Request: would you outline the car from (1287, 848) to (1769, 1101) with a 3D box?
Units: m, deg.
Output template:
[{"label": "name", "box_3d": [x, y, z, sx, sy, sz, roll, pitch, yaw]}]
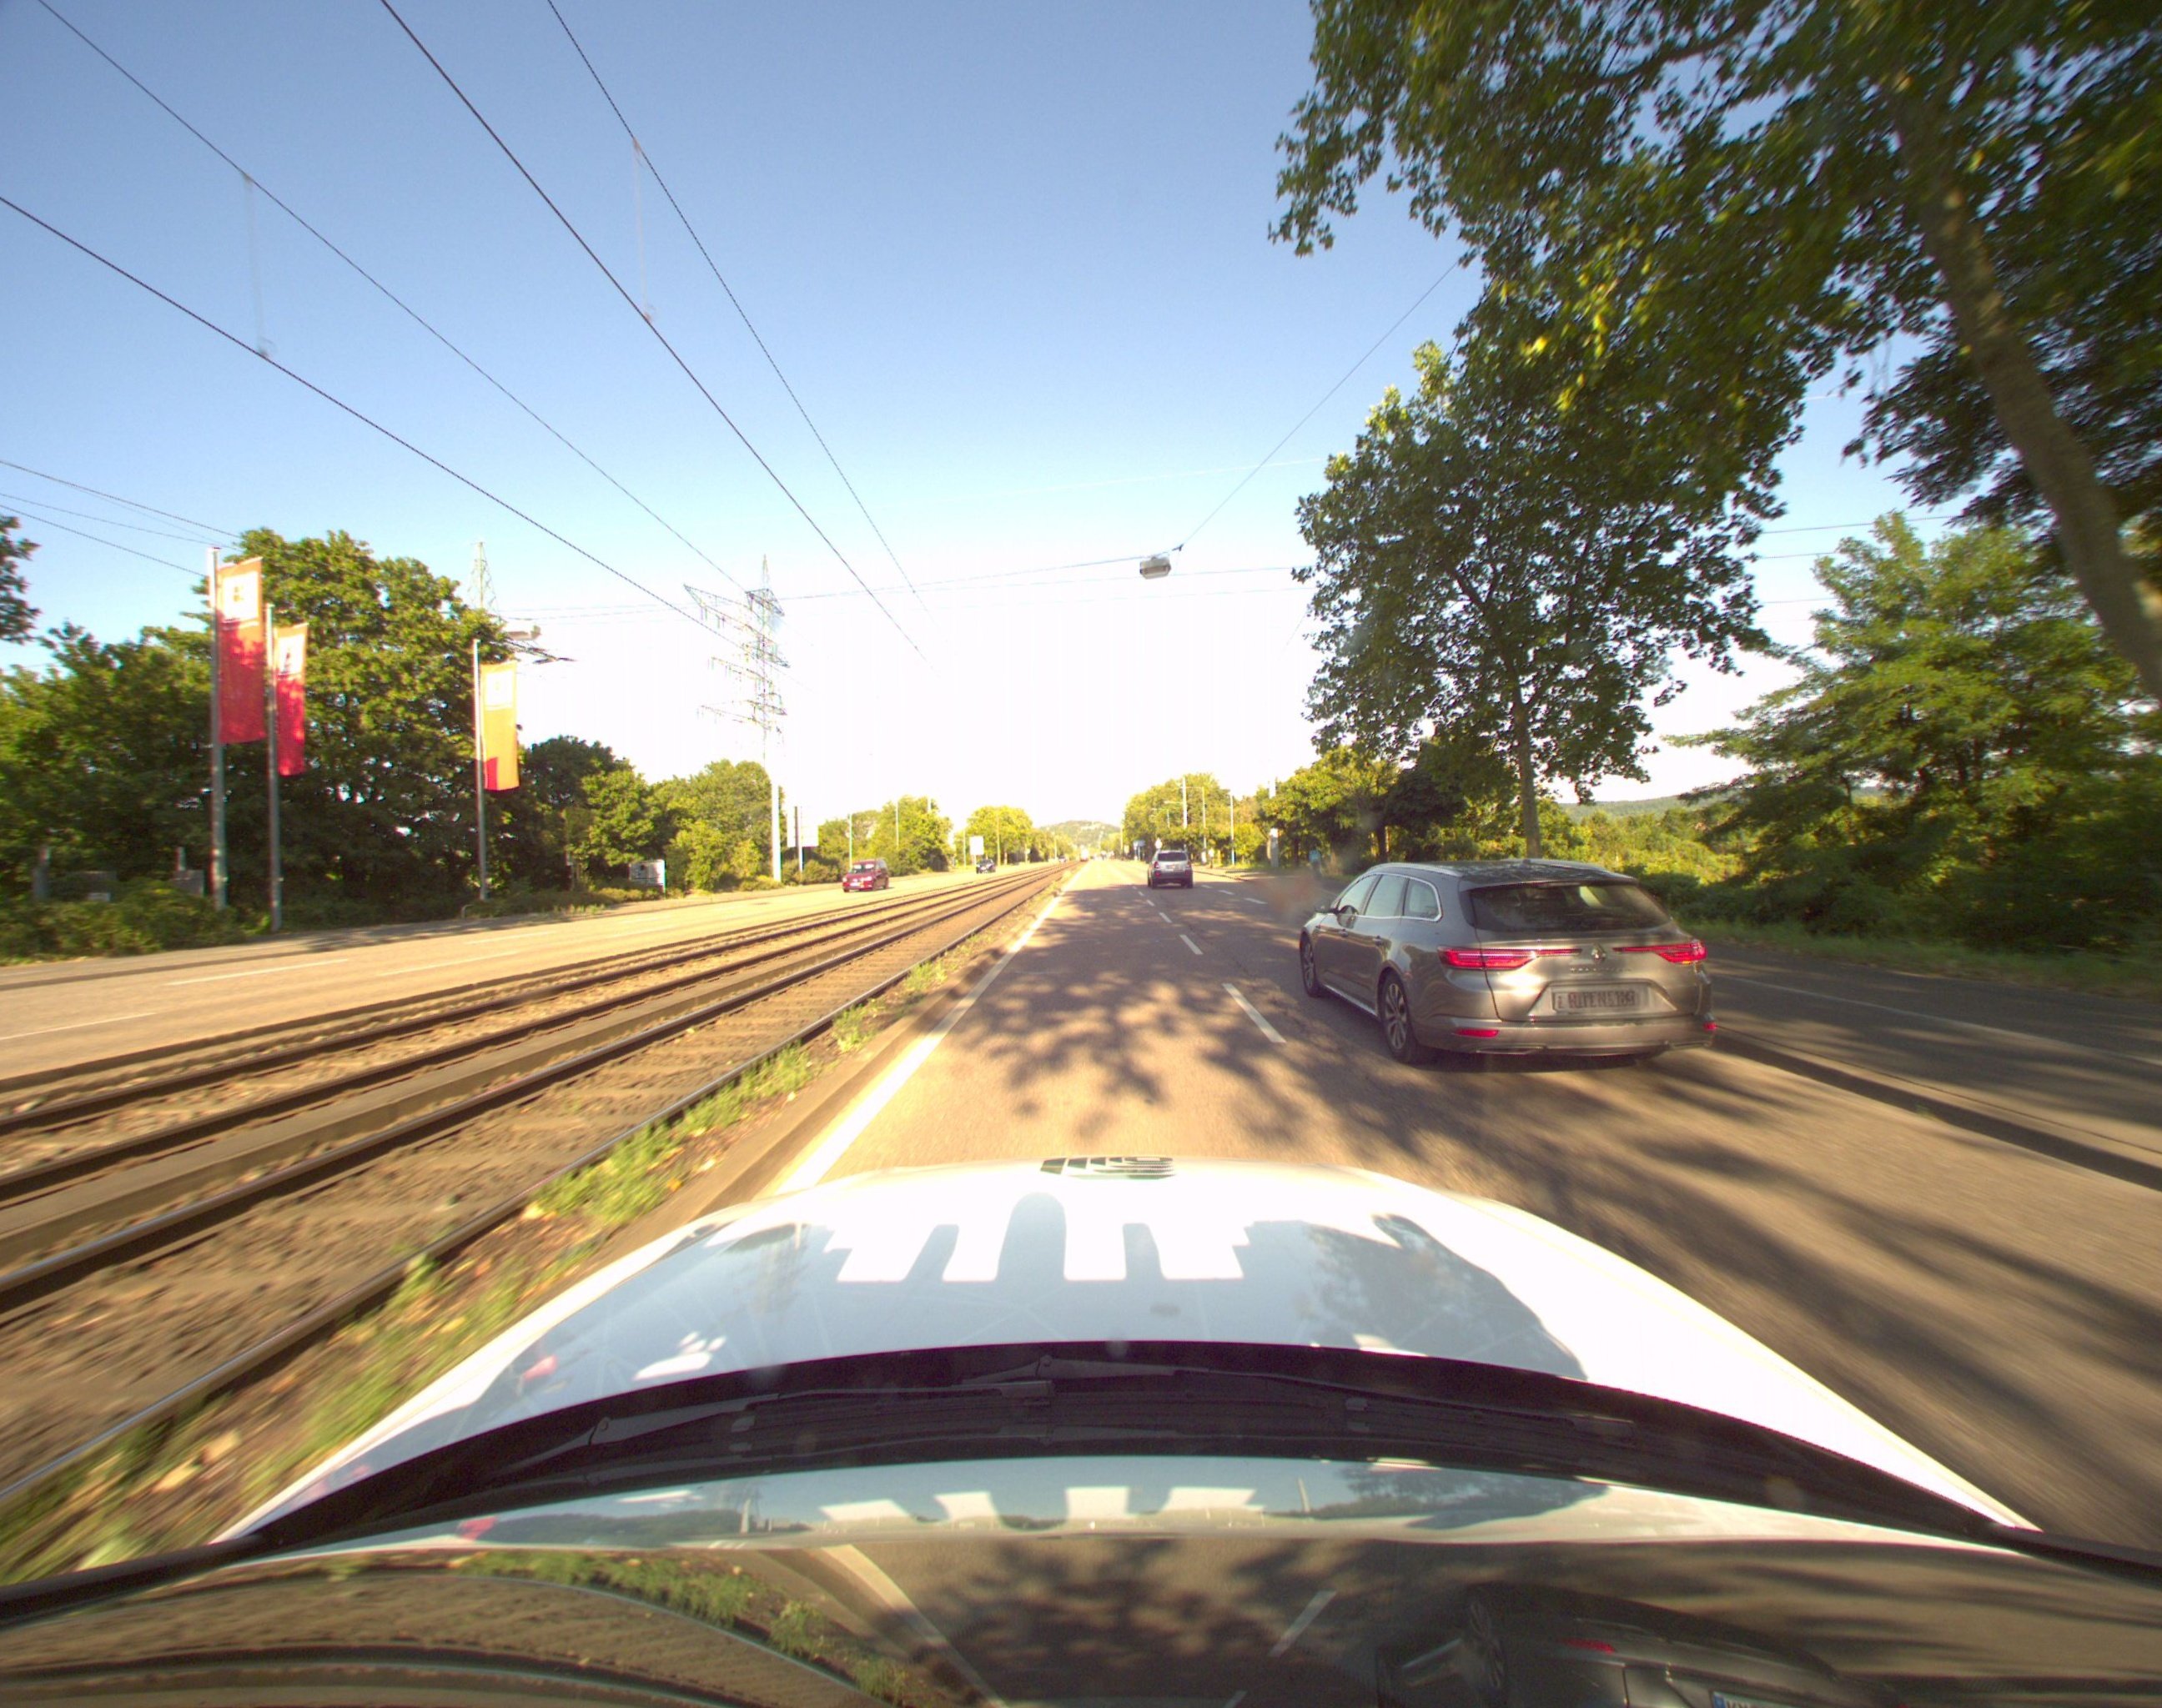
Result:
[{"label": "car", "box_3d": [3.252, 0.735, 7.201, 1.858, 1.467, 4.669, -2, 0, 3]}]

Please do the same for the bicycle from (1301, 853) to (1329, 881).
[{"label": "bicycle", "box_3d": [10.356, 0.562, 36.129, 0.791, 1.094, 1.897, -4, 0, 5]}]

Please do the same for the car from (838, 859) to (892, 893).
[{"label": "car", "box_3d": [-12.440, 1.244, 47.118, 1.855, 1.720, 4.002, -2, 1, 2]}]

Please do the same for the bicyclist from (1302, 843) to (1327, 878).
[{"label": "bicyclist", "box_3d": [10.324, 0.271, 36.004, 0.791, 1.460, 1.114, -4, 0, 5]}]

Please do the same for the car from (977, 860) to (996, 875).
[{"label": "car", "box_3d": [-11.198, 1.533, 96.652, 1.899, 1.643, 3.999, 0, 1, -1]}]

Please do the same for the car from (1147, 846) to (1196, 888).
[{"label": "car", "box_3d": [4.064, 0.555, 37.155, 1.876, 1.795, 4.002, 0, 1, 2]}]

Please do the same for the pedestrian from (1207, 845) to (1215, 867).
[{"label": "pedestrian", "box_3d": [11.320, 0.180, 70.771, 0.623, 1.871, 0.624, 0, 1, 1]}]
